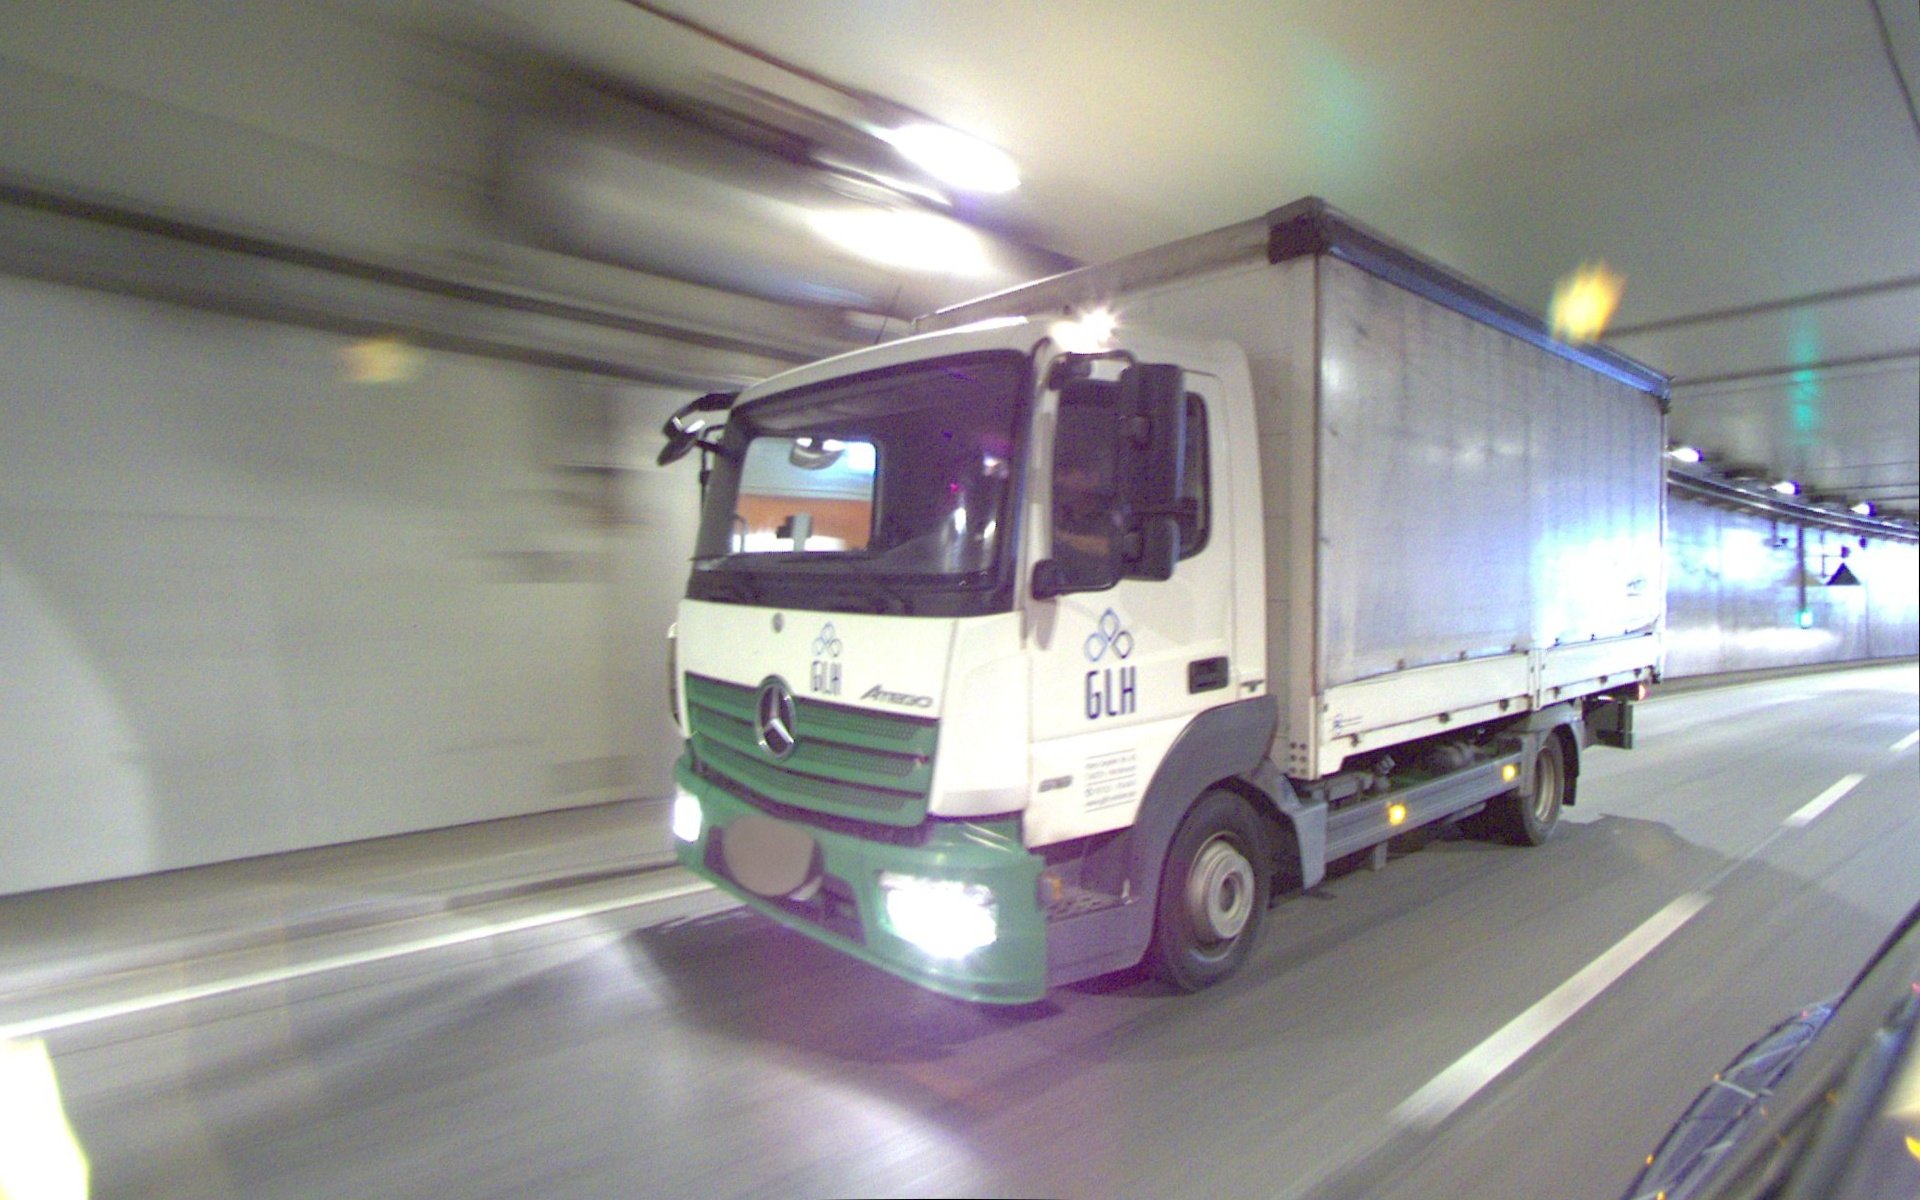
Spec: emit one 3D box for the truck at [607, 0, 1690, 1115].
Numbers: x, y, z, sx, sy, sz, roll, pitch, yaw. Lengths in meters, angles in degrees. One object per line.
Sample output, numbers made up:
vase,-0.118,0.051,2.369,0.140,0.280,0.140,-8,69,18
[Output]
truck,1.896,-0.187,6.059,7.119,3.222,2.557,1,-1,-42
